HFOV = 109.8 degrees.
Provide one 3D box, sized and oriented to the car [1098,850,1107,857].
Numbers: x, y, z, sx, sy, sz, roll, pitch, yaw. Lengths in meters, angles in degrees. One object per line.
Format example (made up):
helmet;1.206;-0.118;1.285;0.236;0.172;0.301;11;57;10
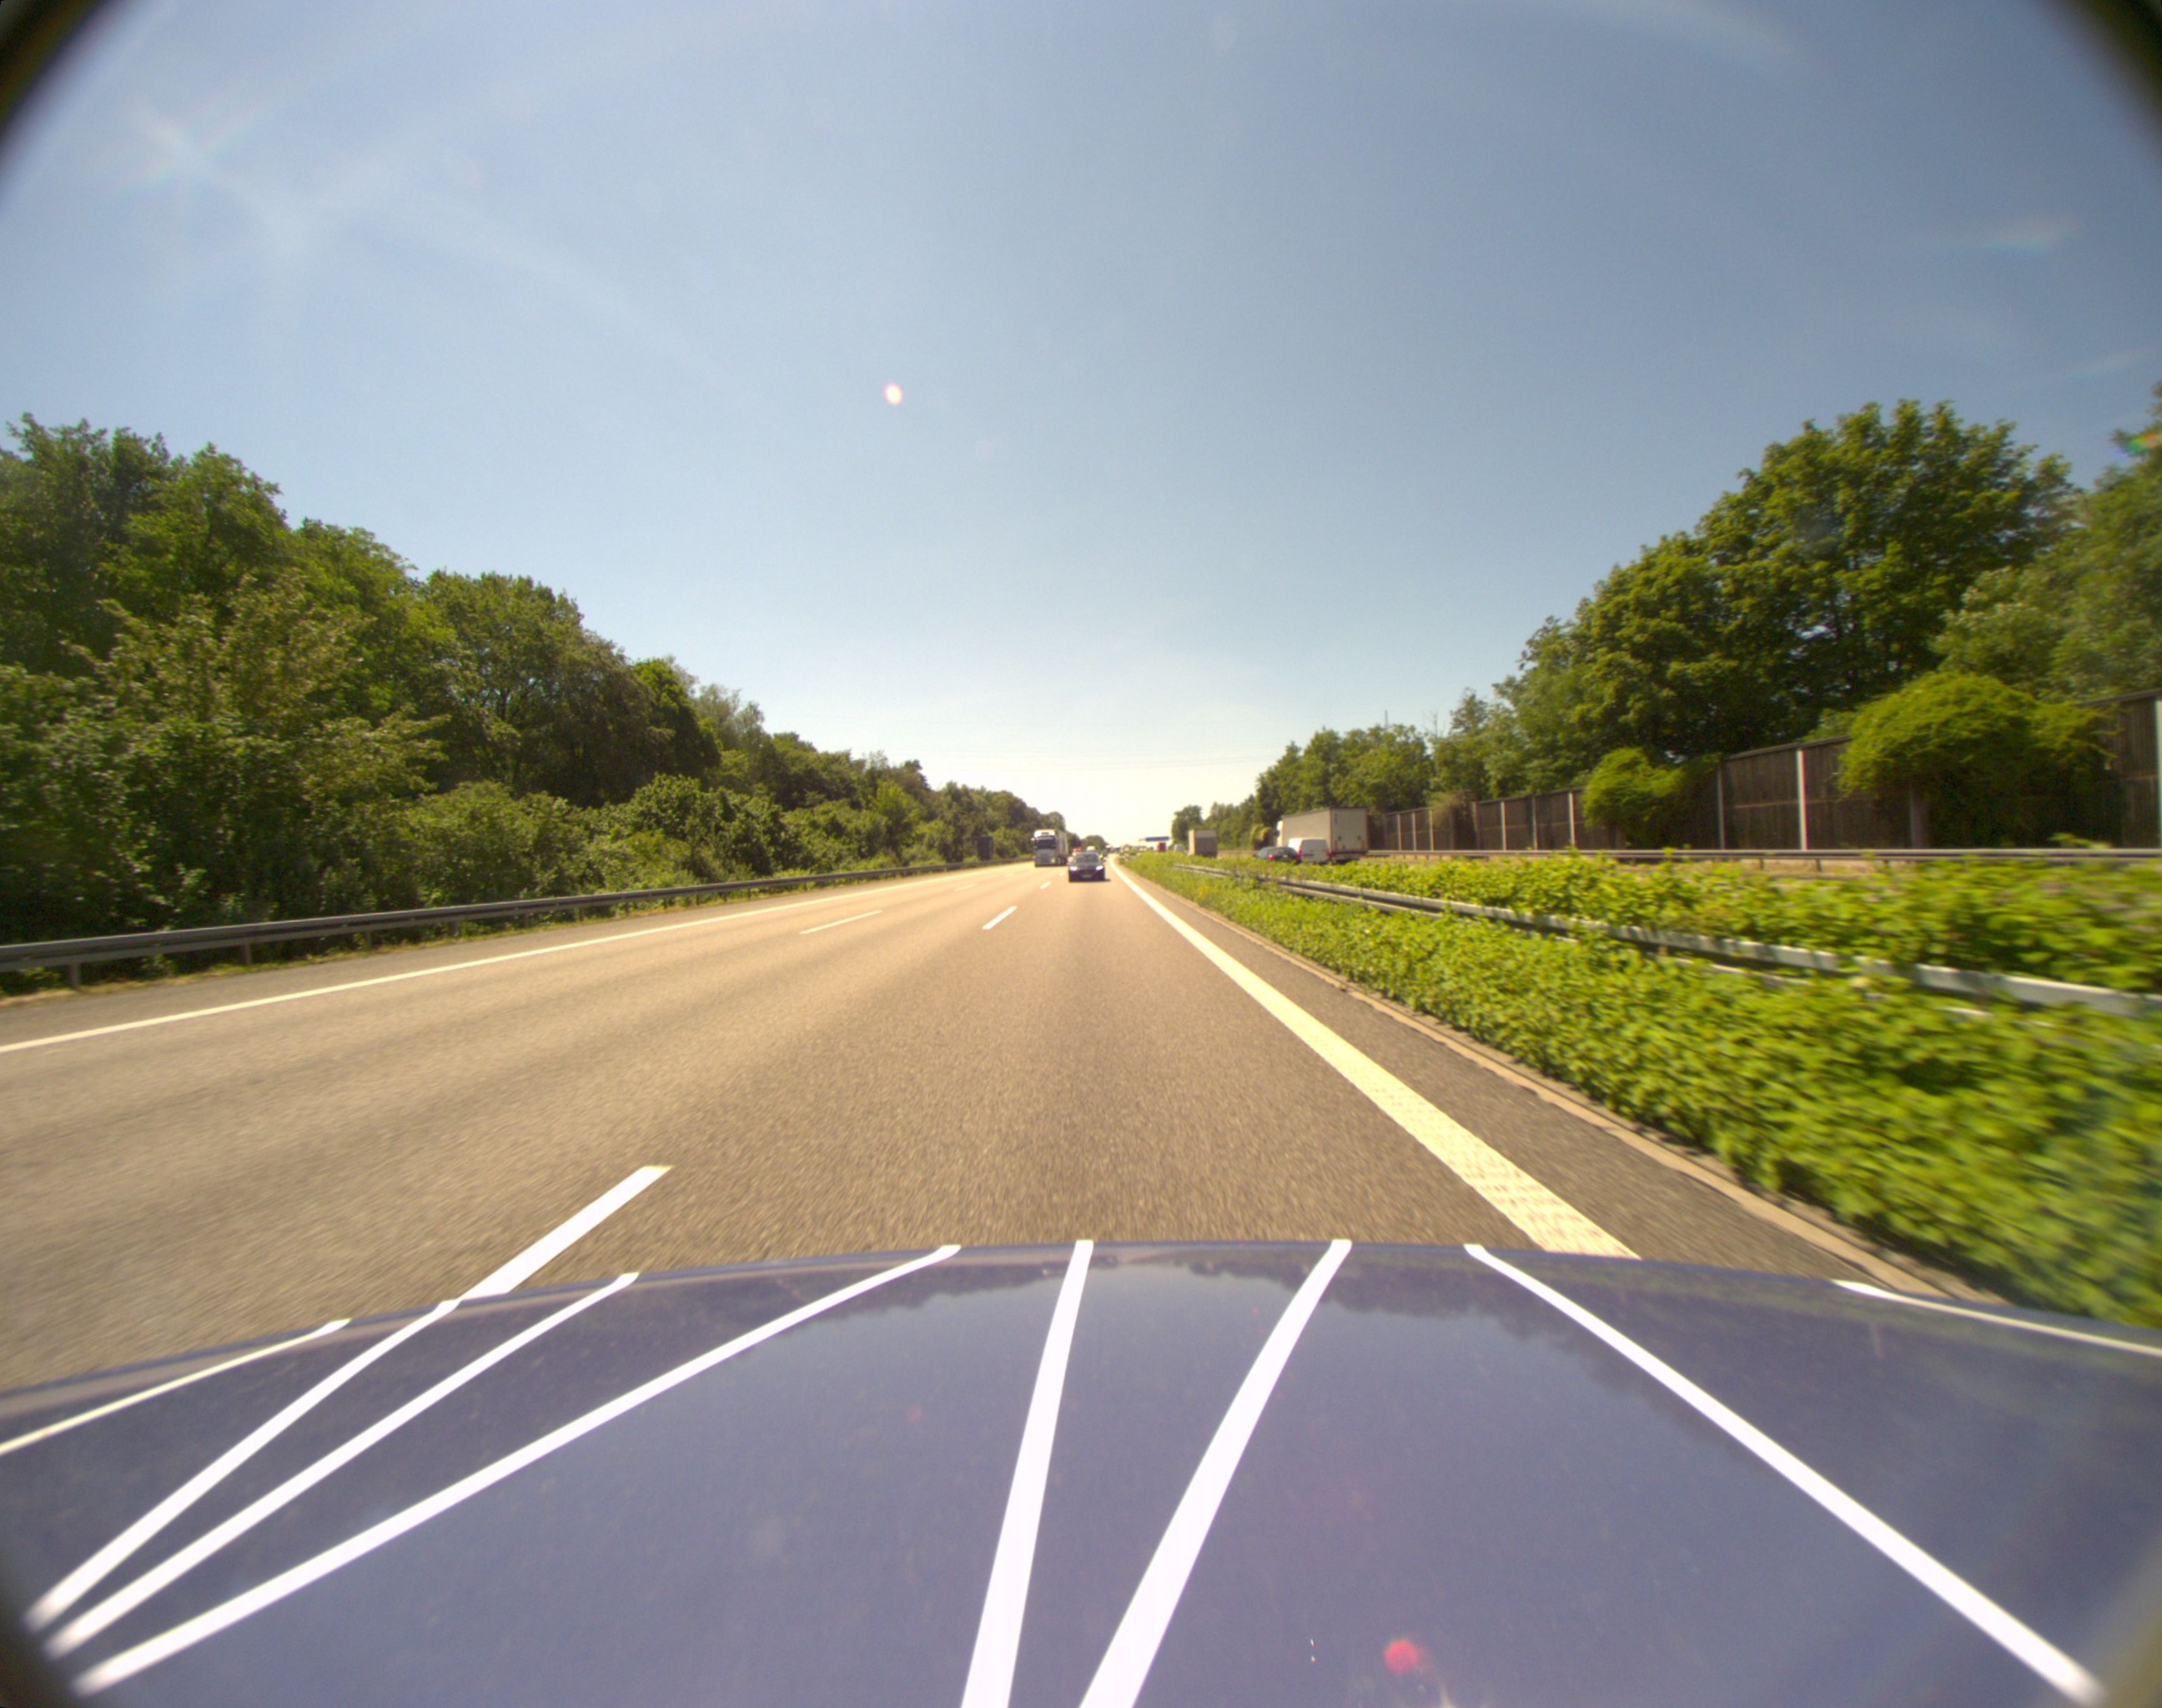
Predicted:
car;5.046;-0.105;176.815;1.879;1.630;4.000;-2;0;2

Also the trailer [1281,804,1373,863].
trailer;18.443;-1.433;58.159;2.736;3.887;13.761;-2;0;1

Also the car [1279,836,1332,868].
car;13.674;-0.159;46.589;1.872;1.809;4.816;-2;1;1

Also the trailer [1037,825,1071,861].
trailer;-3.068;-1.267;90.728;2.746;3.952;13.655;-2;0;3

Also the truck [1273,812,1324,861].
truck;18.547;-1.456;65.134;2.693;3.872;5.573;-2;1;1

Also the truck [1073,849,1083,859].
truck;-0.715;0.015;203.340;2.437;2.426;10.009;-2;0;1

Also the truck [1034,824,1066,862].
truck;-3.374;-1.216;83.967;2.729;3.952;6.502;-2;1;3

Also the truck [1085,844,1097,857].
truck;2.510;-0.913;195.955;2.859;3.163;10.710;-2;0;0

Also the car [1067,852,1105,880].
car;0.317;0.604;40.547;1.800;1.390;4.834;-2;0;2

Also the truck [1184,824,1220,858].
truck;11.668;-1.228;73.757;2.199;3.096;8.533;-2;0;1

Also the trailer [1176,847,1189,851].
trailer;22.688;-1.180;170.669;2.167;0.802;6.281;-2;0;1

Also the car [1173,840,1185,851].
car;22.700;-1.972;176.512;2.029;2.417;5.412;-2;1;1

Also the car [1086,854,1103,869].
car;1.570;0.813;86.383;1.862;1.614;3.737;-2;0;1

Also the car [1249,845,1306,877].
car;9.198;0.280;35.840;1.630;1.382;3.913;-2;1;0
